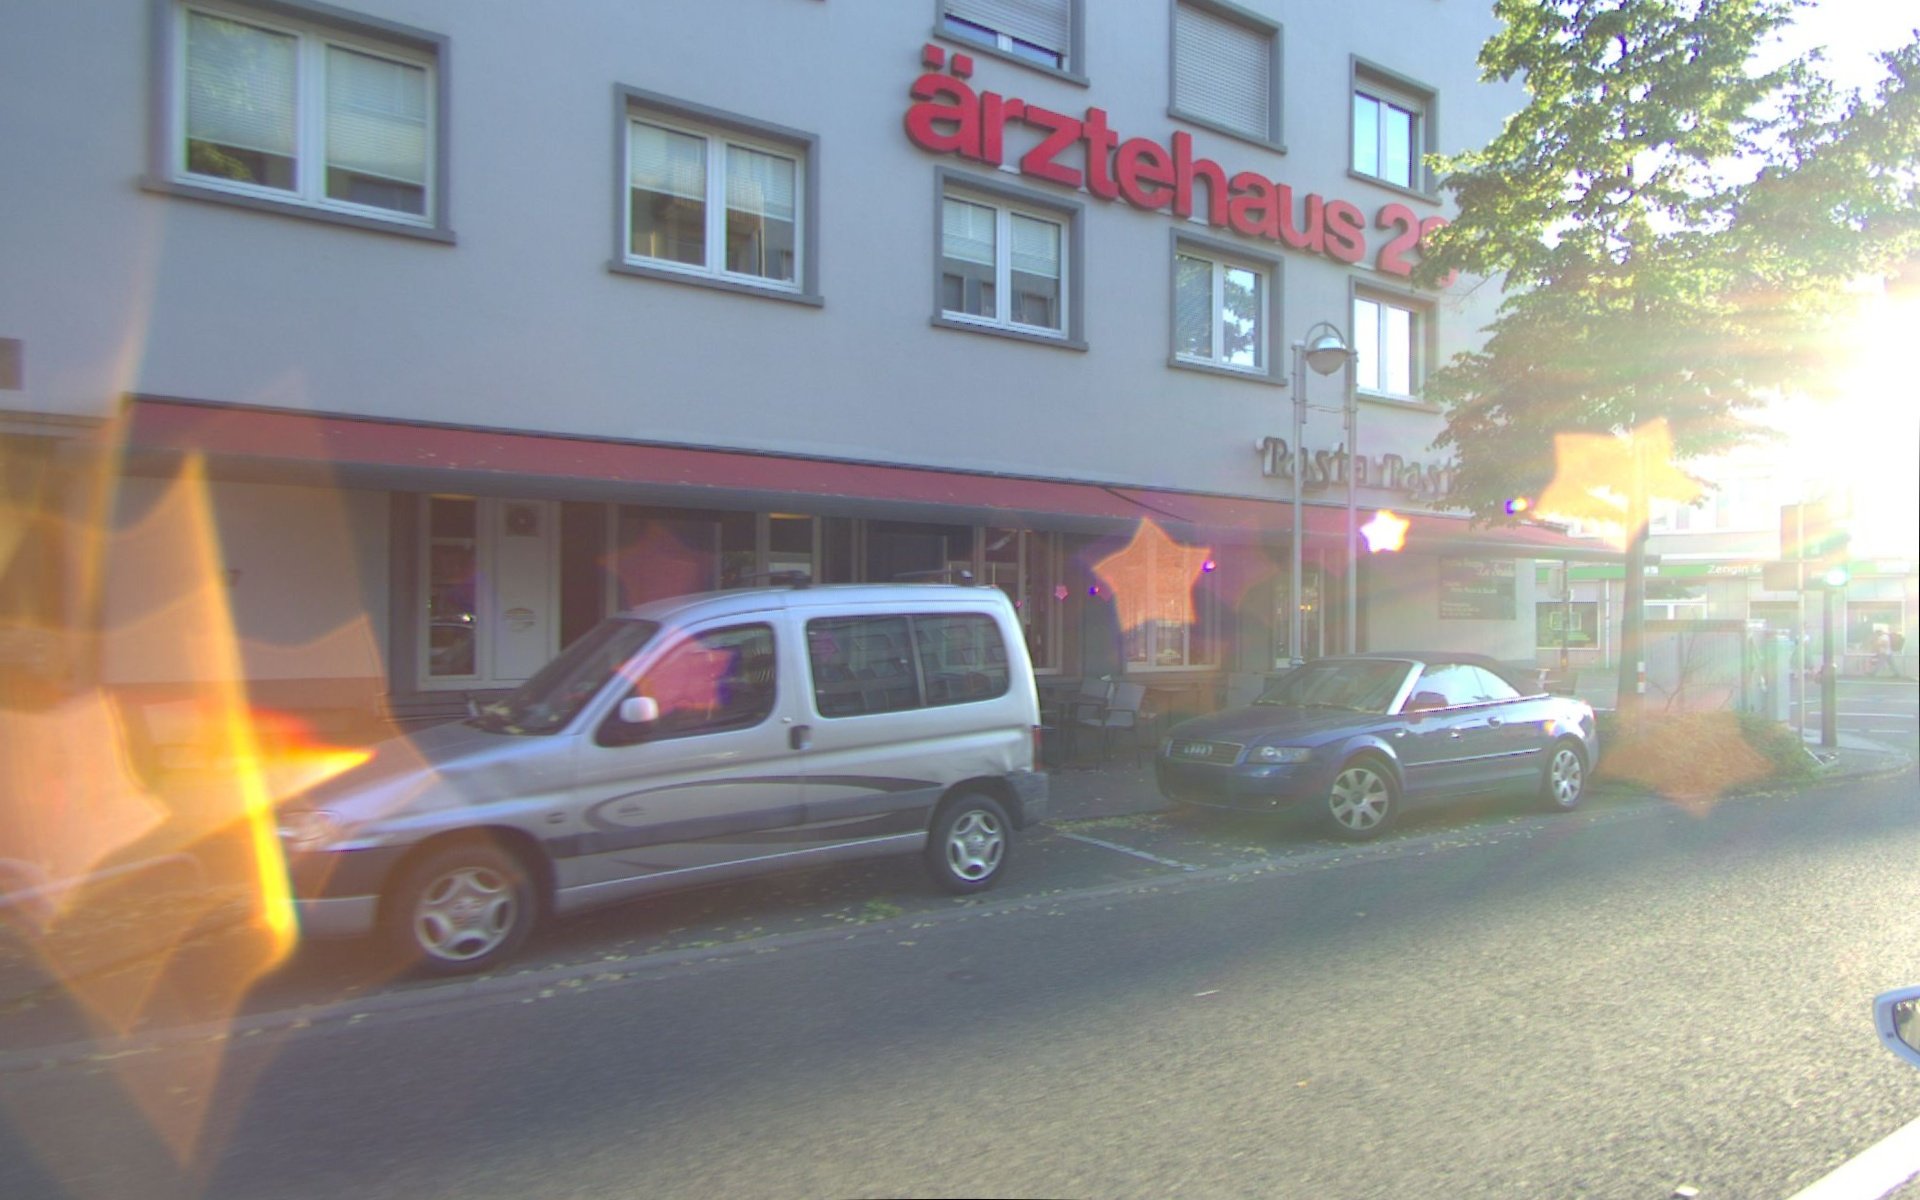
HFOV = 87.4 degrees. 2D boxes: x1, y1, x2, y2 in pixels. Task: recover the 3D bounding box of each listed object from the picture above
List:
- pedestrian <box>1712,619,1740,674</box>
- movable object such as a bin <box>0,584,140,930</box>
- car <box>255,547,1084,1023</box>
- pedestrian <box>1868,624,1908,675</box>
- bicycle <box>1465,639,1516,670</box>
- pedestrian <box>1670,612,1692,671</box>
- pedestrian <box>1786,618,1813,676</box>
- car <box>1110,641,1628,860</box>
[{"bbox_3d":[25.099,1.507,32.915,0.689,1.768,0.637,-1,-1,39],"label":"pedestrian"},{"bbox_3d":[-5.430,0.781,5.390,1.424,1.695,1.274,1,2,-32],"label":"movable object such as a bin"},{"bbox_3d":[-1.475,0.757,5.768,4.104,1.811,1.904,1,-2,-33],"label":"car"},{"bbox_3d":[29.199,1.554,31.630,0.857,1.569,0.696,-1,-1,39],"label":"pedestrian"},{"bbox_3d":[19.313,1.981,36.576,1.620,1.104,0.478,-1,0,34],"label":"bicycle"},{"bbox_3d":[24.199,1.388,33.724,0.487,1.954,0.575,0,-1,26],"label":"pedestrian"},{"bbox_3d":[26.570,1.477,31.798,0.637,1.802,0.669,-1,-1,39],"label":"pedestrian"},{"bbox_3d":[3.581,1.081,8.633,4.331,1.404,1.906,1,-2,-31],"label":"car"}]
